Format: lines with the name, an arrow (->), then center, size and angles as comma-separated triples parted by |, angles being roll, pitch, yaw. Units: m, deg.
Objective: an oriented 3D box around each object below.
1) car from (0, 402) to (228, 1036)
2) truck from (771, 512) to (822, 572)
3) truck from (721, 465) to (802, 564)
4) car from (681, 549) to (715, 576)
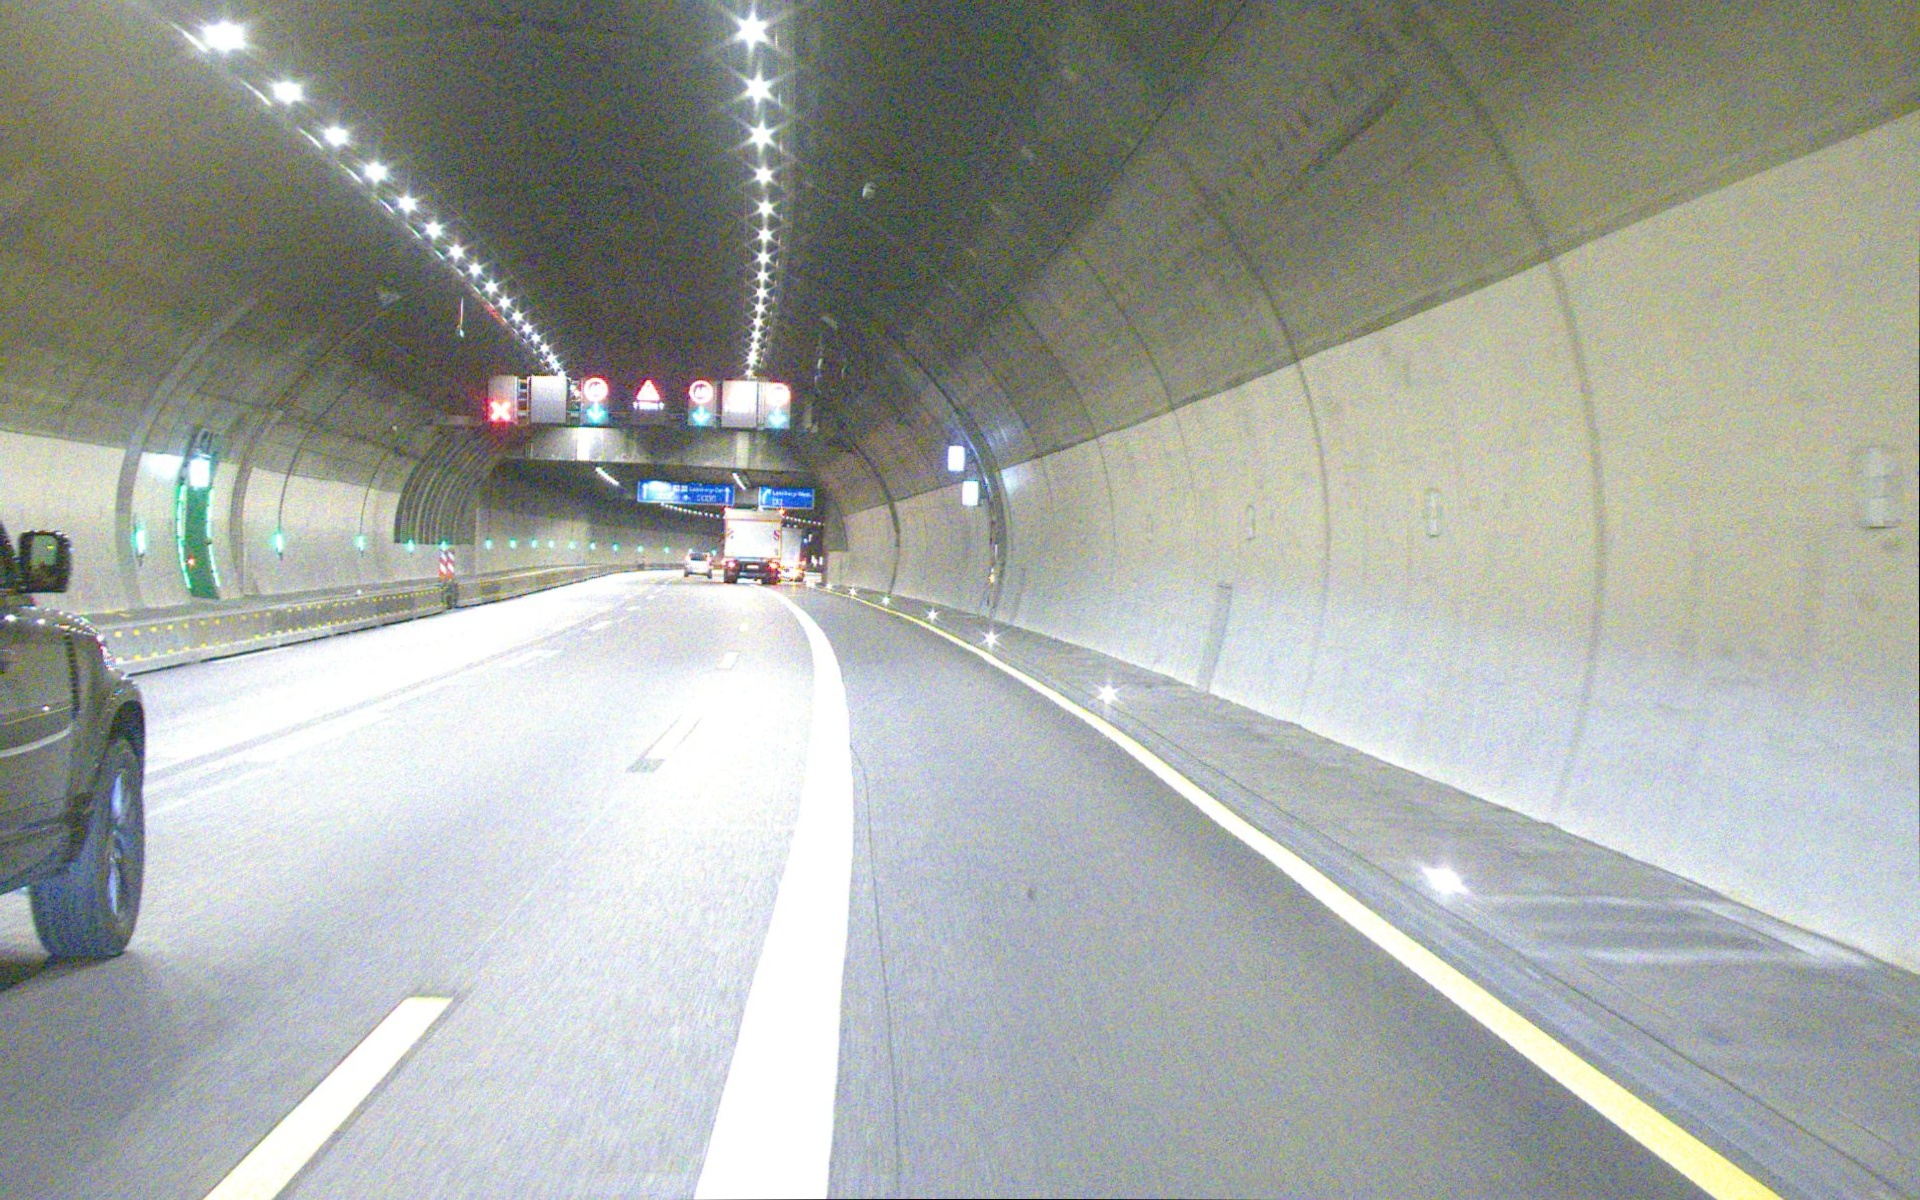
car -> -3.838, 0.308, 10.717 | 1.993, 1.888, 5.454 | 3, 1, -1
truck -> -12.402, -4.388, 259.758 | 3.473, 4.301, 10.954 | 1, 1, -4
truck -> -9.339, -3.984, 160.981 | 3.473, 4.301, 10.954 | 3, 1, -4
car -> -16.217, -2.332, 212.502 | 1.993, 1.576, 4.001 | 3, 1, -5
